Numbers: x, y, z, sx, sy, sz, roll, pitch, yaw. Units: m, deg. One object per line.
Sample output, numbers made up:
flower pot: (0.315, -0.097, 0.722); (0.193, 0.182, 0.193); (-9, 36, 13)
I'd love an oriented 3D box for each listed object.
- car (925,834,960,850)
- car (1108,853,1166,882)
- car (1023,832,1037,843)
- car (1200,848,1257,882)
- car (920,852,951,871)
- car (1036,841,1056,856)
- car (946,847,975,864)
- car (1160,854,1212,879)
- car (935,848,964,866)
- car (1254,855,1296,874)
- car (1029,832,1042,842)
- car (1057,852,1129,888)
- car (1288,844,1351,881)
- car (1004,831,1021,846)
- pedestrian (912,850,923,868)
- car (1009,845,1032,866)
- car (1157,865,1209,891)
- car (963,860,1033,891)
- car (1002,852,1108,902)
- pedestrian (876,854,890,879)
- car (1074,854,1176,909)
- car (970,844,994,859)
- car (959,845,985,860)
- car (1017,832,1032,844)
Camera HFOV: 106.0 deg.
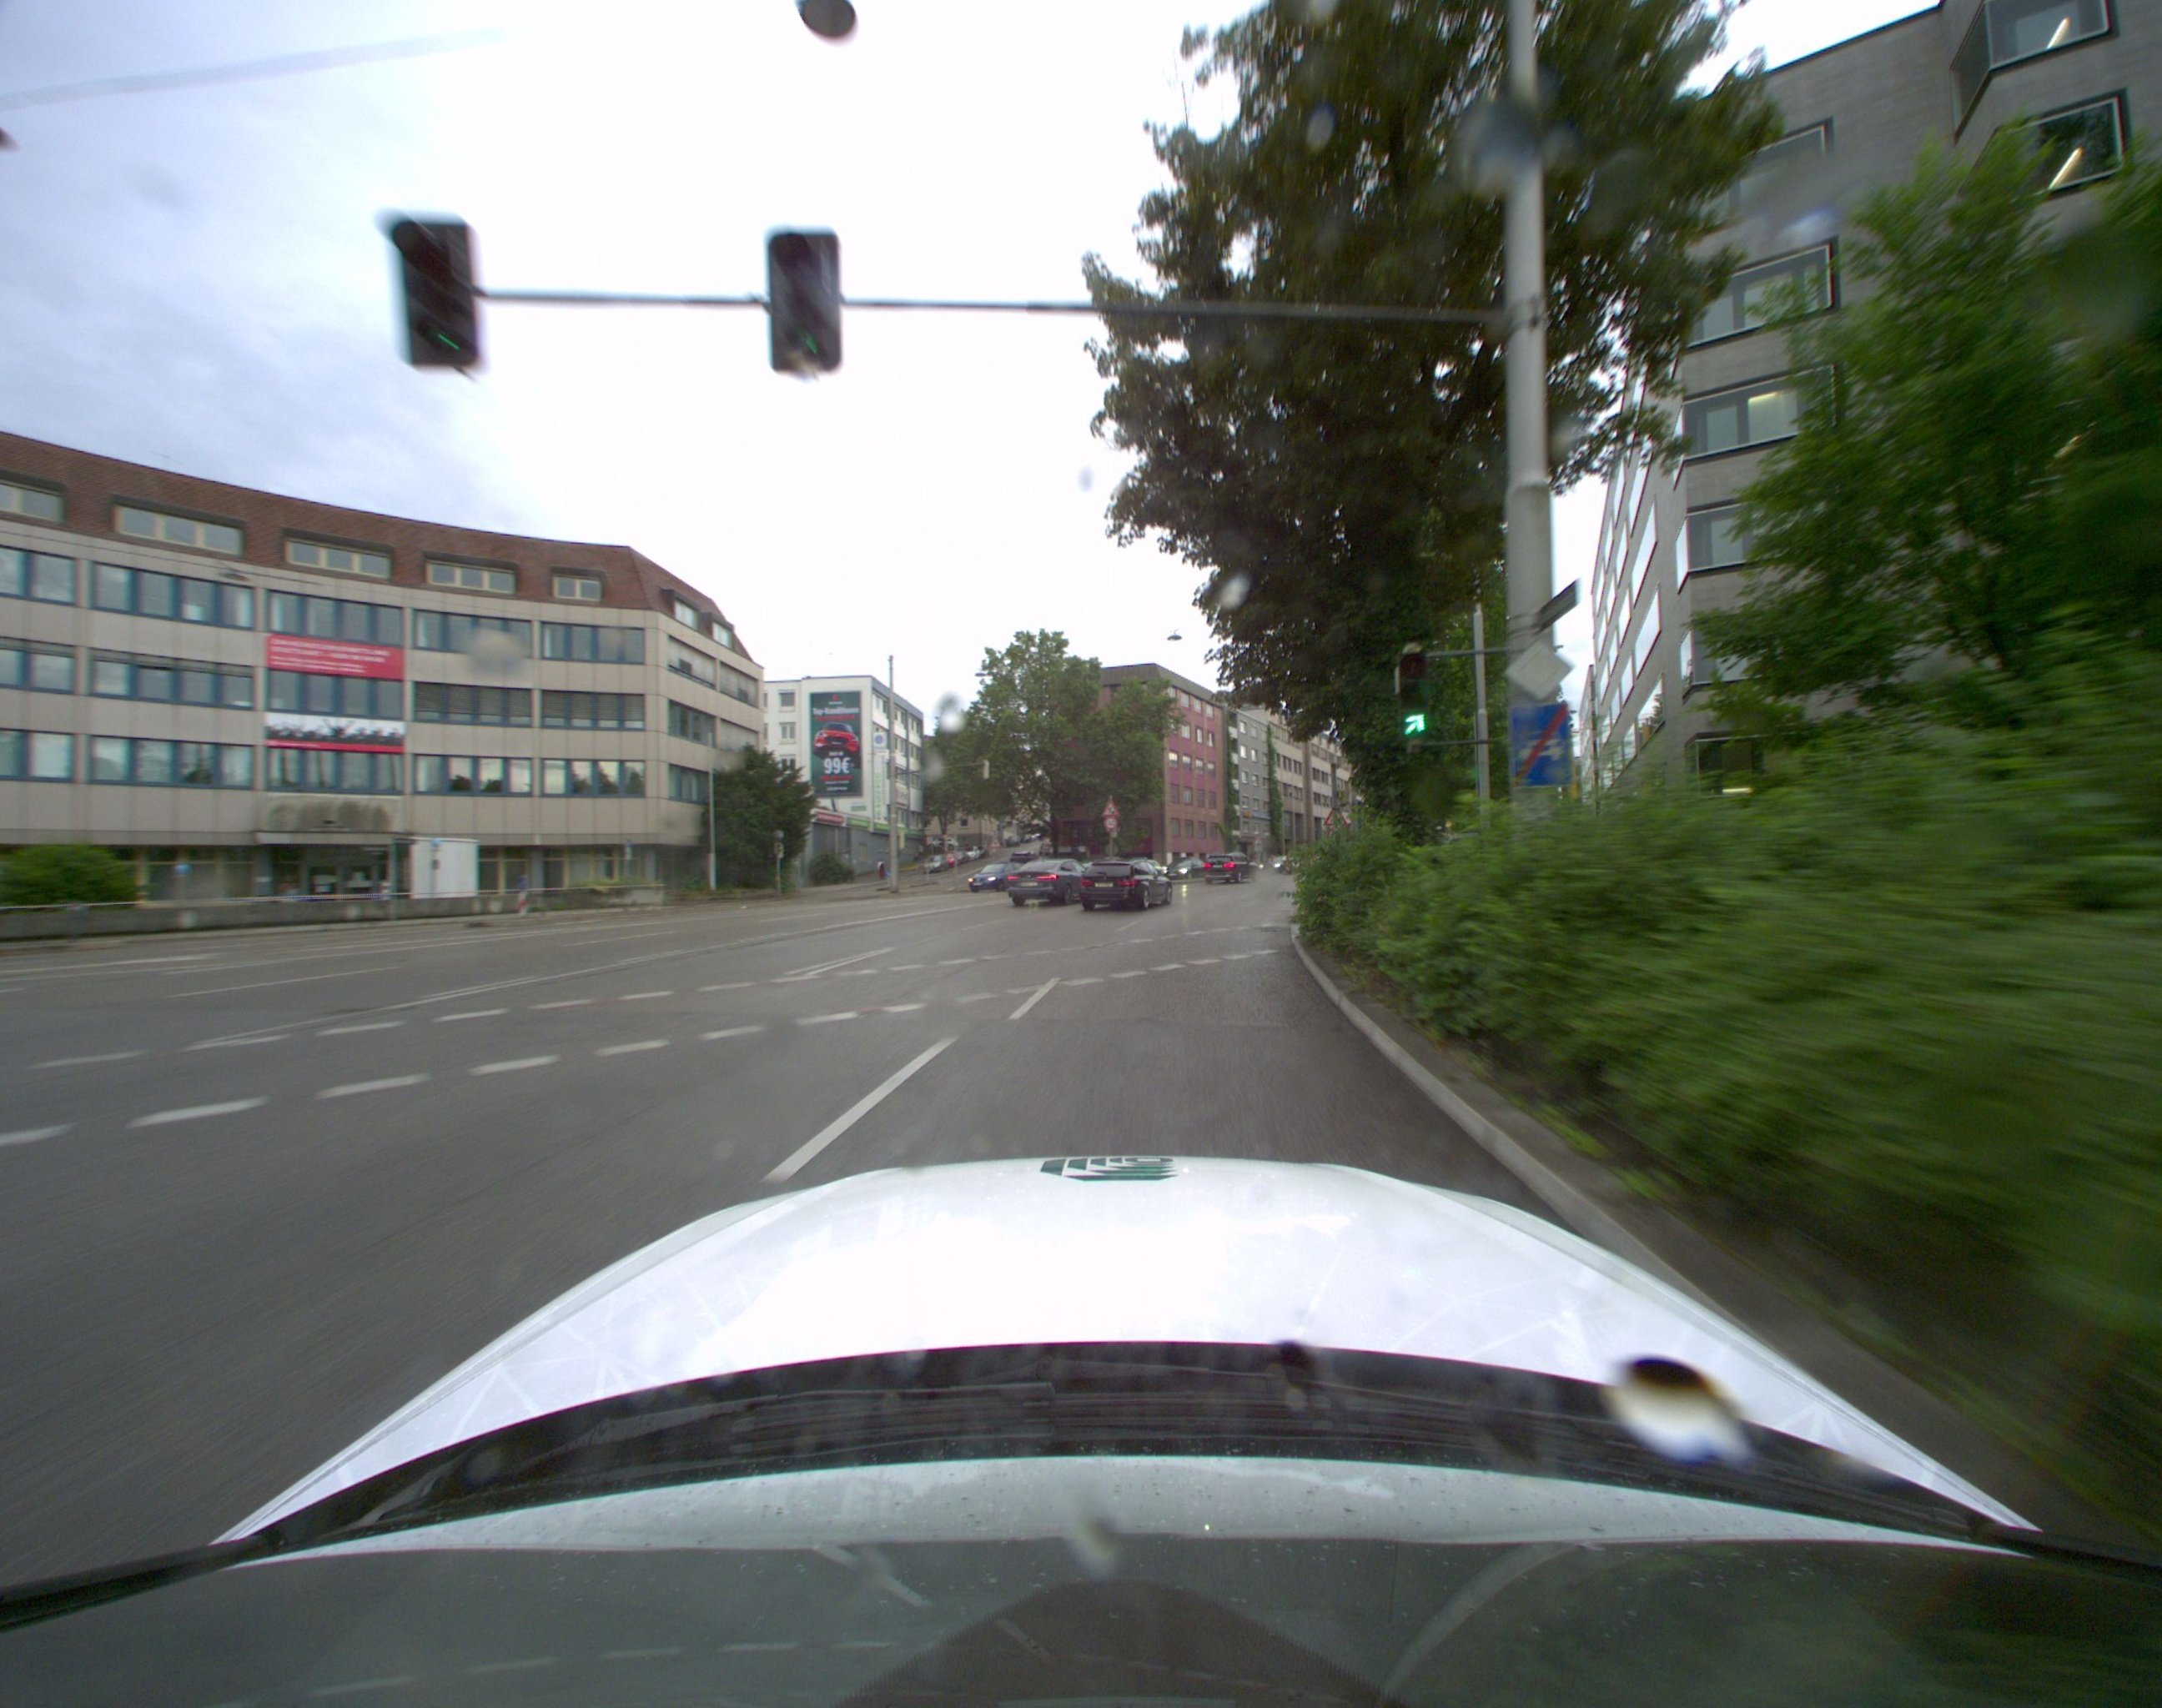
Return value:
car: (-19.041, -1.597, 112.078); (4.403, 2.006, 1.999); (-2, -2, -1)
car: (3.611, 0.853, 51.768); (1.749, 1.682, 4.619); (-3, -2, 29)
car: (-8.881, -2.921, 142.740); (1.986, 1.842, 4.003); (-2, 3, 2)
car: (8.037, 0.599, 44.150); (1.882, 1.693, 4.024); (-3, -2, 27)
car: (-13.769, 0.690, 77.368); (1.824, 1.462, 4.184); (-3, 3, 5)
car: (-4.254, -0.674, 99.159); (1.922, 1.674, 4.005); (-2, 0, 4)
car: (-12.961, 0.129, 87.585); (1.822, 1.430, 4.082); (-2, 3, 9)
car: (6.587, 0.765, 50.884); (1.749, 1.417, 4.108); (-3, -2, 29)
car: (-13.382, 0.308, 83.109); (1.823, 1.430, 4.079); (-2, 3, 6)
car: (15.846, 0.847, 66.428); (1.974, 1.438, 4.968); (-3, -1, 29)
car: (-8.532, -3.197, 152.126); (1.986, 1.842, 4.003); (-2, 3, 2)
car: (0.687, 0.775, 40.801); (1.837, 1.622, 4.618); (-4, -2, 24)
car: (11.922, 0.413, 40.557); (1.881, 1.693, 4.025); (-3, -2, 32)
car: (-10.252, -2.342, 122.626); (1.986, 2.014, 4.002); (-2, -1, 2)
pedestrian: (-16.136, 0.494, 80.325); (0.835, 1.717, 0.982); (-2, -2, 4)
car: (-5.549, 0.148, 75.547); (1.925, 1.868, 3.998); (0, 1, -2)
car: (7.396, 1.686, 58.682); (1.974, 1.677, 4.968); (-3, -1, 29)
car: (-4.374, 1.130, 43.504); (1.745, 1.512, 4.145); (-3, -2, 27)
car: (-0.720, 0.704, 26.151); (1.775, 1.426, 4.407); (-3, -1, 21)
pedestrian: (-16.578, 1.051, 68.105); (0.835, 2.014, 0.982); (-2, -2, 4)
car: (1.395, 0.744, 23.721); (1.777, 1.426, 4.634); (-1, -1, 18)
car: (-11.825, -0.304, 97.146); (1.823, 1.430, 4.079); (-2, 3, 7)
car: (-12.354, -0.176, 92.477); (1.822, 1.430, 4.082); (-2, 3, 9)
car: (-9.502, -2.643, 136.335); (1.986, 1.842, 4.003); (-2, 3, 2)
